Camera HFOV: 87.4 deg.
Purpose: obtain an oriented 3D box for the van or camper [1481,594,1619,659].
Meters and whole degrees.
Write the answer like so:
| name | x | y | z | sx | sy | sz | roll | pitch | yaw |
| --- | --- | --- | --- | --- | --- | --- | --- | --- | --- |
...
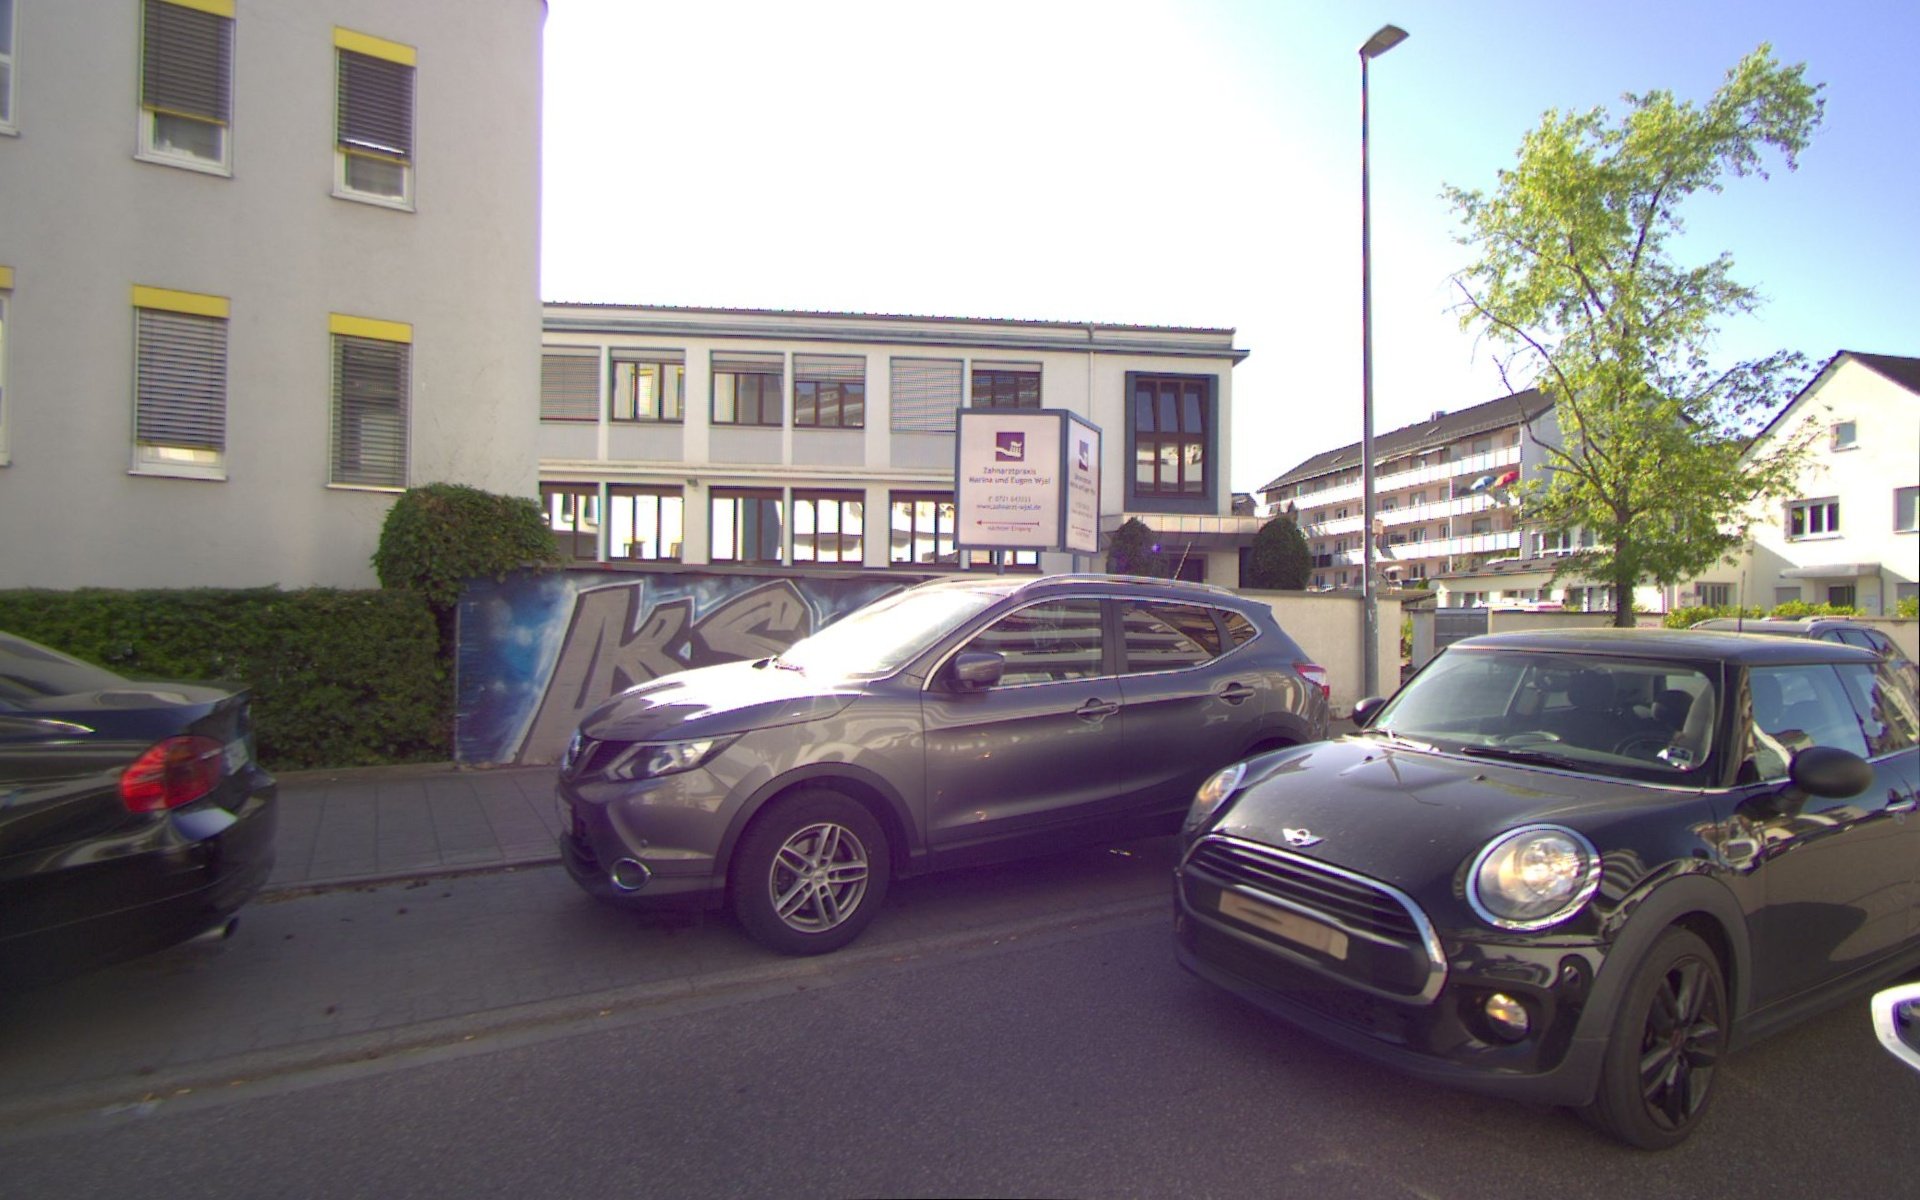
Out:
| name | x | y | z | sx | sy | sz | roll | pitch | yaw |
| --- | --- | --- | --- | --- | --- | --- | --- | --- | --- |
| van or camper | 24.215 | 1.140 | 41.485 | 2.111 | 2.429 | 5.229 | 2 | -3 | -9 |

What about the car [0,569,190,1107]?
| name | x | y | z | sx | sy | sz | roll | pitch | yaw |
| --- | --- | --- | --- | --- | --- | --- | --- | --- | --- |
| car | -4.836 | 0.629 | 2.507 | 4.386 | 1.484 | 1.718 | 1 | -1 | -30 |

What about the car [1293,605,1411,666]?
| name | x | y | z | sx | sy | sz | roll | pitch | yaw |
| --- | --- | --- | --- | --- | --- | --- | --- | --- | --- |
| car | 11.050 | 1.034 | 28.379 | 2.585 | 1.528 | 1.735 | 3 | -4 | -12 |

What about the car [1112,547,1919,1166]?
| name | x | y | z | sx | sy | sz | roll | pitch | yaw |
| --- | --- | --- | --- | --- | --- | --- | --- | --- | --- |
| car | 2.653 | 0.787 | 4.165 | 3.685 | 1.532 | 1.733 | 4 | -4 | -28 |

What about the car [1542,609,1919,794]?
| name | x | y | z | sx | sy | sz | roll | pitch | yaw |
| --- | --- | --- | --- | --- | --- | --- | --- | --- | --- |
| car | 8.450 | 0.903 | 10.581 | 4.862 | 1.555 | 1.983 | 1 | -1 | -32 |

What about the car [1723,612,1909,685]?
| name | x | y | z | sx | sy | sz | roll | pitch | yaw |
| --- | --- | --- | --- | --- | --- | --- | --- | --- | --- |
| car | 20.756 | 1.173 | 24.432 | 3.129 | 1.576 | 1.804 | 3 | -2 | -7 |

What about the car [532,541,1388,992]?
| name | x | y | z | sx | sy | sz | roll | pitch | yaw |
| --- | --- | --- | --- | --- | --- | --- | --- | --- | --- |
| car | 0.148 | 0.640 | 5.427 | 4.368 | 1.607 | 1.712 | 1 | -1 | -30 |
